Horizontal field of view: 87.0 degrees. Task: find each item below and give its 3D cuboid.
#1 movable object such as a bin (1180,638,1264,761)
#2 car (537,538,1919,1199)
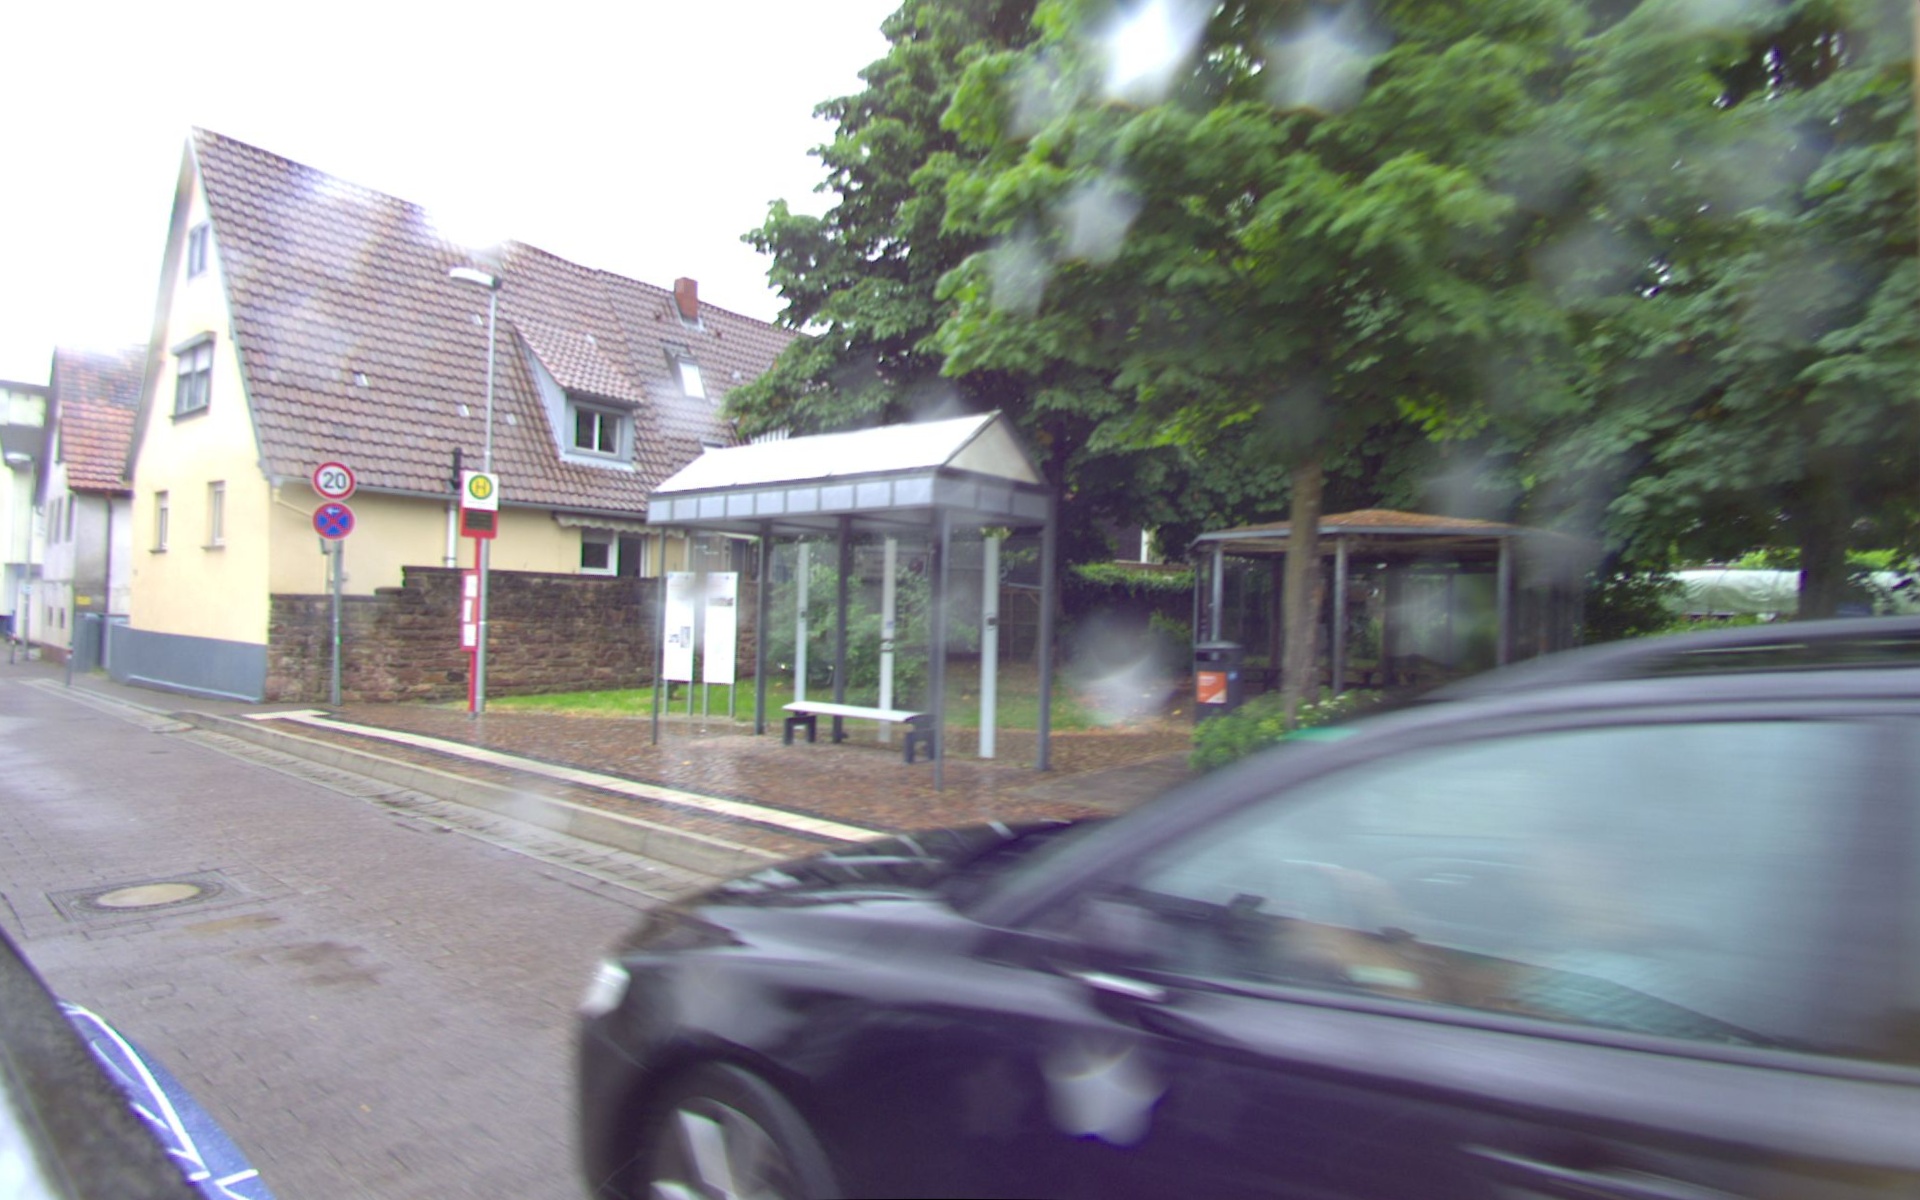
[{"bbox_3d":[2.629,0.969,10.150,0.604,1.155,0.556,2,-1,39],"label":"movable object such as a bin"},{"bbox_3d":[1.401,0.728,1.664,4.303,1.488,1.828,-1,-3,35],"label":"car"}]
